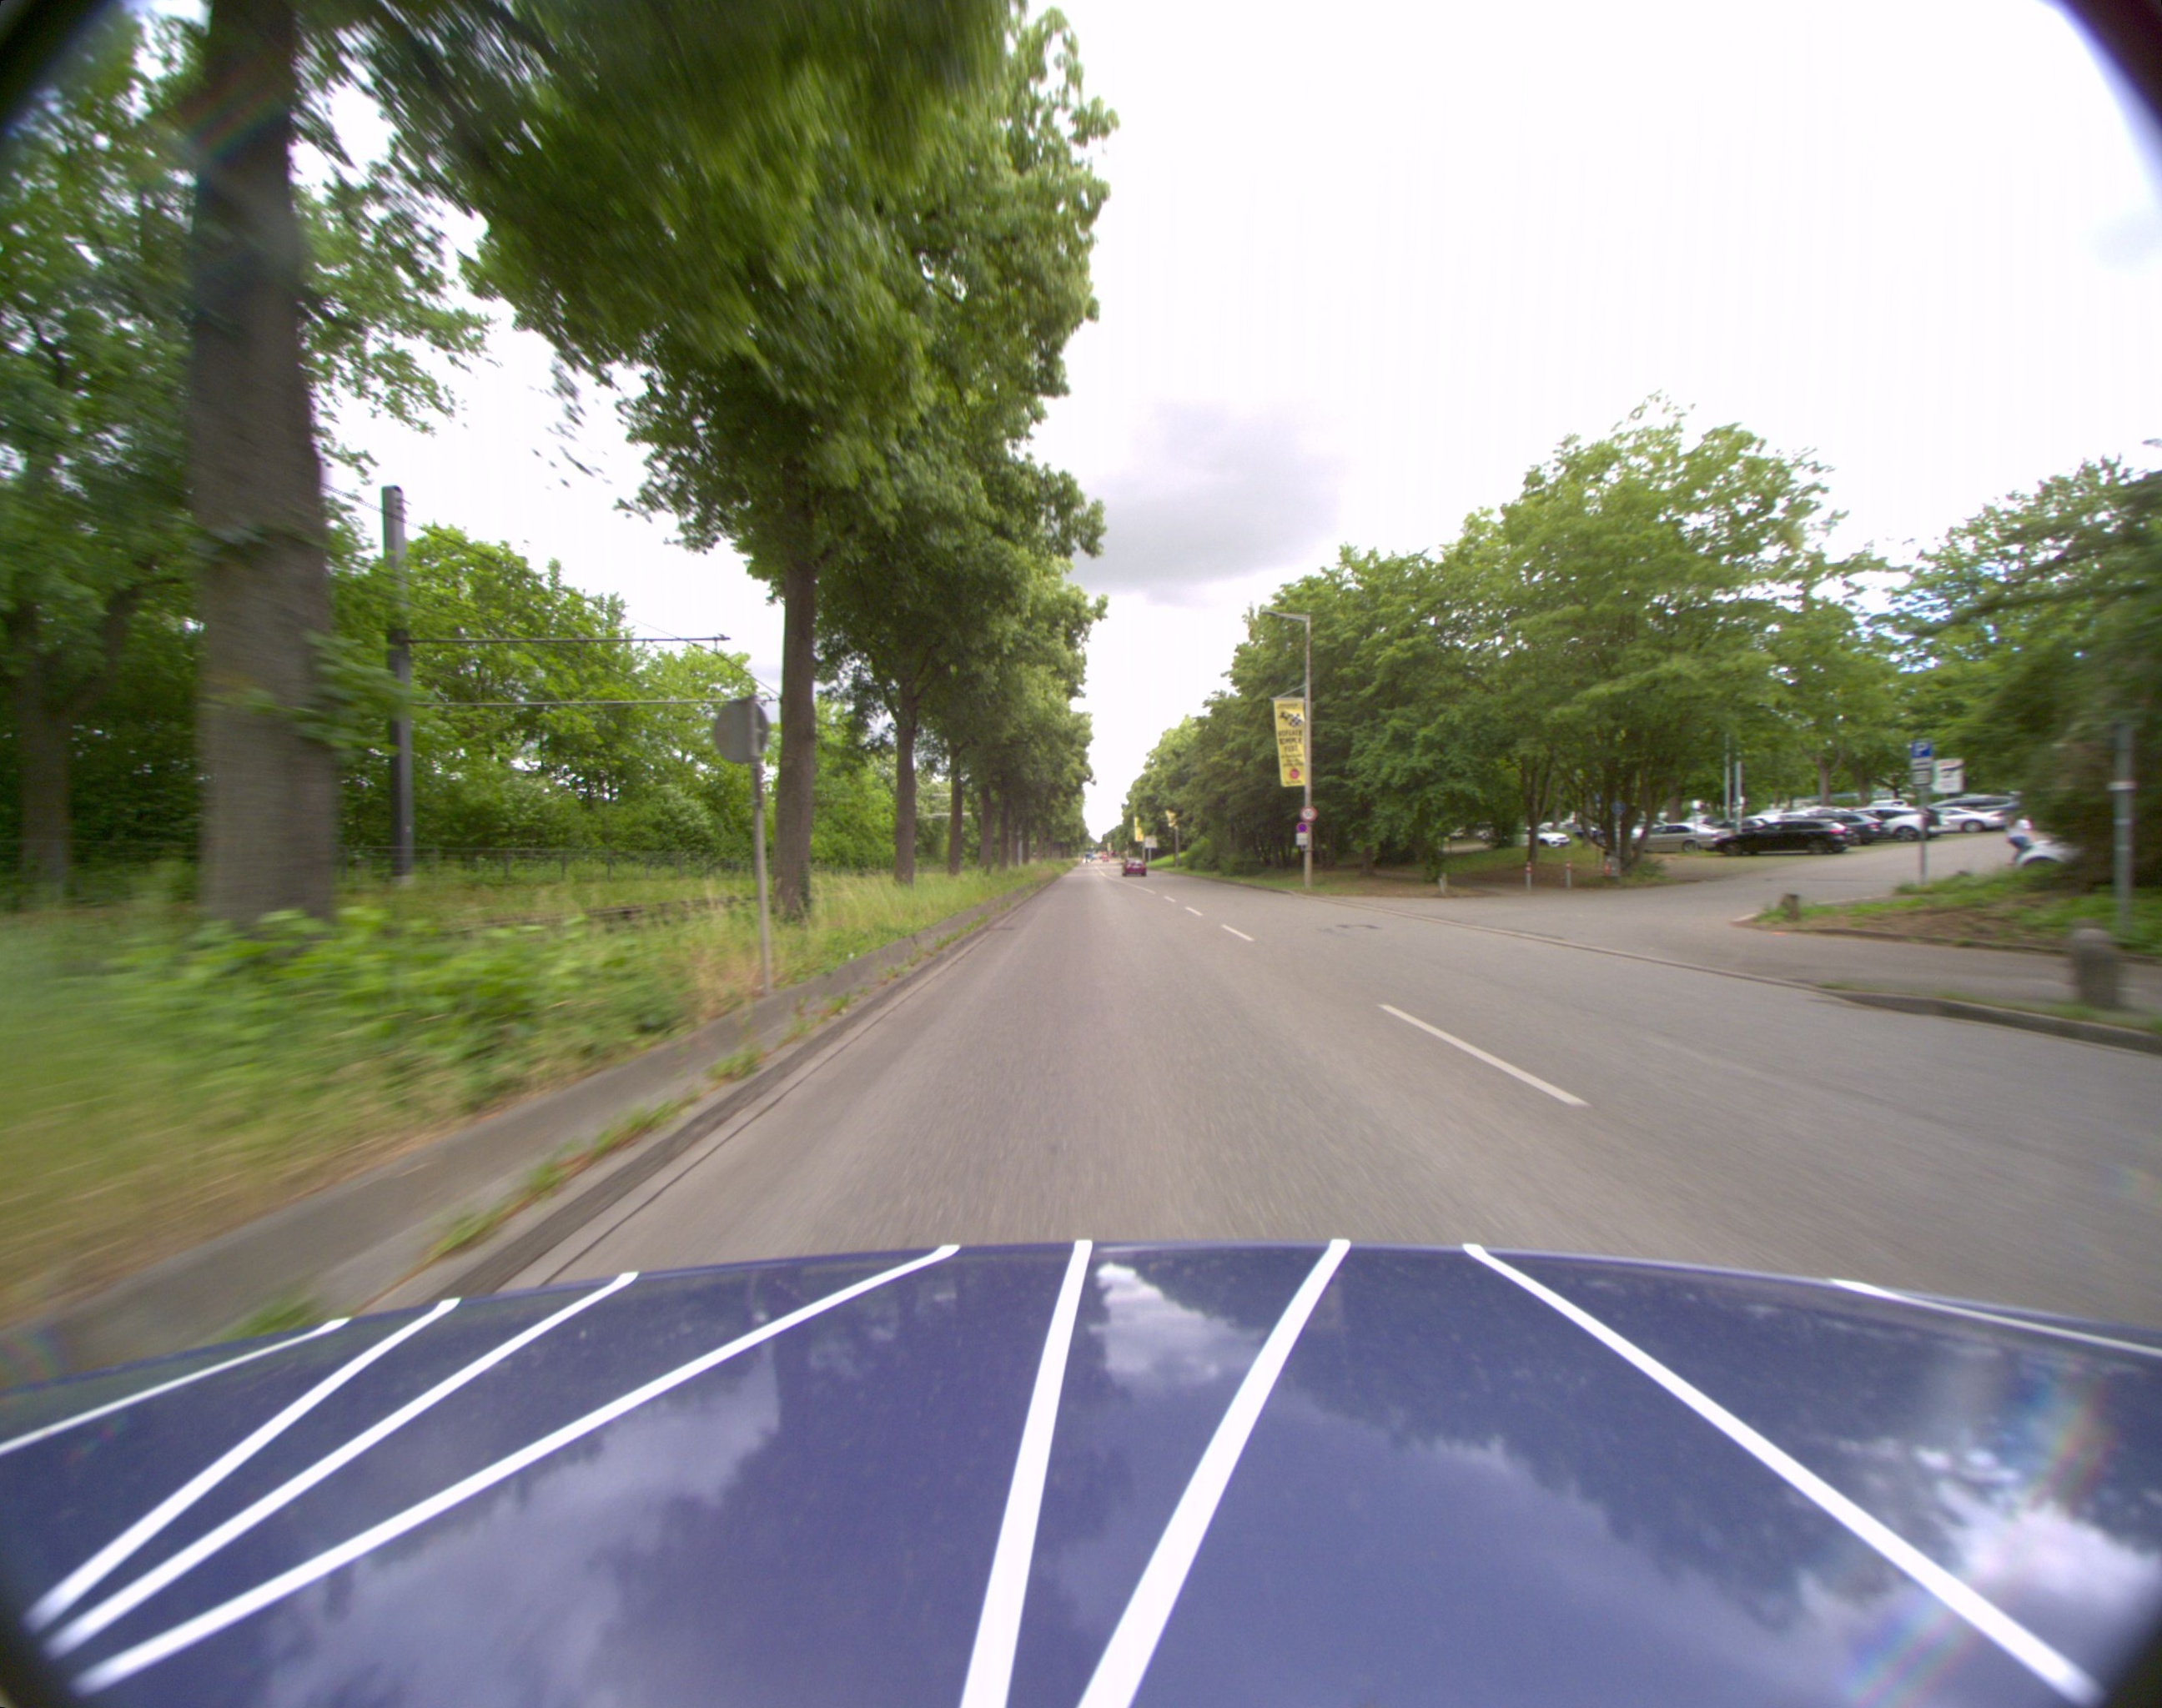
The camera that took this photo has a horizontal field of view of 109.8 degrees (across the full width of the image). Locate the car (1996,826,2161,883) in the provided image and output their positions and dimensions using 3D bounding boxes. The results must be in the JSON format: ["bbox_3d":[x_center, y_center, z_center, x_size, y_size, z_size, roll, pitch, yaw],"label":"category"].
[{"bbox_3d":[24.516,0.003,18.173,1.376,1.231,3.065,-4,1,-21],"label":"car"}]

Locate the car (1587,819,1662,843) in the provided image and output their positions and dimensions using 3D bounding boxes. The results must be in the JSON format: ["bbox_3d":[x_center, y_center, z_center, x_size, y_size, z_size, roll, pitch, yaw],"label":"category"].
[{"bbox_3d":[38.272,-1.575,53.567,1.653,1.477,3.992,-2,0,-23],"label":"car"}]

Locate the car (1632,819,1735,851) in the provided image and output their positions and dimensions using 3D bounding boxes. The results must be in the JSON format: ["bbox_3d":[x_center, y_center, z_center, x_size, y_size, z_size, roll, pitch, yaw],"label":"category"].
[{"bbox_3d":[29.446,-0.908,37.244,1.651,1.372,3.580,-4,1,-26],"label":"car"}]

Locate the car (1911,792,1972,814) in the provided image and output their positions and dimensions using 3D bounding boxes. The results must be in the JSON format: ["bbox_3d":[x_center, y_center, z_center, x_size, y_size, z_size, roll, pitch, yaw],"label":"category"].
[{"bbox_3d":[92.779,-5.462,81.995,1.905,2.047,3.978,-2,0,-24],"label":"car"}]

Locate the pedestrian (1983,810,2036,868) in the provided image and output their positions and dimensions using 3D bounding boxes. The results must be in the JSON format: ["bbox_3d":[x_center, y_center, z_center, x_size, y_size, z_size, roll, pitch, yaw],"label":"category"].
[{"bbox_3d":[26.236,-0.408,21.476,0.470,1.601,0.829,-2,1,-21],"label":"pedestrian"}]

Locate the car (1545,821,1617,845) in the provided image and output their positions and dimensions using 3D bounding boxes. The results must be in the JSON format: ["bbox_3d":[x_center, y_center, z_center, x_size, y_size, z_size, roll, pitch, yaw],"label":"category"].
[{"bbox_3d":[35.231,-1.455,53.668,1.653,1.477,3.992,-2,0,-23],"label":"car"}]

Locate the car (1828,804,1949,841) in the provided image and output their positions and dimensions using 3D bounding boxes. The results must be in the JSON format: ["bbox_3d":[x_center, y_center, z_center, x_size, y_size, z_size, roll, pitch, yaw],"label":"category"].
[{"bbox_3d":[36.209,-1.379,34.166,1.541,1.407,3.373,-4,1,-21],"label":"car"}]

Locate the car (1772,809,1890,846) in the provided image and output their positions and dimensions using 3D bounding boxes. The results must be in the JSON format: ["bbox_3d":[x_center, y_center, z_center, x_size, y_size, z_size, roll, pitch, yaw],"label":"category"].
[{"bbox_3d":[33.287,-1.143,33.811,1.541,1.407,3.373,-4,1,-21],"label":"car"}]

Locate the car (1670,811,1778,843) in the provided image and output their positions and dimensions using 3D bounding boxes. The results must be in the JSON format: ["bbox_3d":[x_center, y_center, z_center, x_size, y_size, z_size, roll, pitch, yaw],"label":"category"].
[{"bbox_3d":[33.834,-1.394,40.088,1.653,1.477,3.992,-2,0,-23],"label":"car"}]

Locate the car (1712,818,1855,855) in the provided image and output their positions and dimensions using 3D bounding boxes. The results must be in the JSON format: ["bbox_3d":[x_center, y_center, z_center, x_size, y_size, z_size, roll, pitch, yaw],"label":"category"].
[{"bbox_3d":[29.069,-0.680,31.592,1.443,1.332,4.117,-4,1,-21],"label":"car"}]

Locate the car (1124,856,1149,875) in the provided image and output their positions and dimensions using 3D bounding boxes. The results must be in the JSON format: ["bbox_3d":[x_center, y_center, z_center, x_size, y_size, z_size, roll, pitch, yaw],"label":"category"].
[{"bbox_3d":[4.365,0.864,60.115,1.720,1.420,4.197,0,0,0],"label":"car"}]

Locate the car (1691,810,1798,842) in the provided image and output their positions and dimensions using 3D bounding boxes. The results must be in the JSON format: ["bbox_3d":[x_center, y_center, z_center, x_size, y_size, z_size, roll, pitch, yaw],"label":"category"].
[{"bbox_3d":[35.766,-1.469,41.076,1.653,1.477,3.992,-2,0,-23],"label":"car"}]

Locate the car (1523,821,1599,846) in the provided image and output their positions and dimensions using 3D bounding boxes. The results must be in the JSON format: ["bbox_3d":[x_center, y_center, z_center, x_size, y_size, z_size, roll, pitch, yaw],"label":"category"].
[{"bbox_3d":[31.843,-1.321,50.528,1.653,1.477,3.992,-2,0,-23],"label":"car"}]

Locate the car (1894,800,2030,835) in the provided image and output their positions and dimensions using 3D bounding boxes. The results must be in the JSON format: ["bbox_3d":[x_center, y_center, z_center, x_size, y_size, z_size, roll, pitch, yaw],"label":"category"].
[{"bbox_3d":[42.632,-1.737,36.874,1.653,1.477,3.992,-2,0,-23],"label":"car"}]

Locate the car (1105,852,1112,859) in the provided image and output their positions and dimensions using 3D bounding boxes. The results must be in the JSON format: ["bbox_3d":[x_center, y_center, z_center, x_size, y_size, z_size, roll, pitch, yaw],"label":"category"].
[{"bbox_3d":[8.588,0.478,238.170,1.998,1.944,5.183,-1,0,1],"label":"car"}]

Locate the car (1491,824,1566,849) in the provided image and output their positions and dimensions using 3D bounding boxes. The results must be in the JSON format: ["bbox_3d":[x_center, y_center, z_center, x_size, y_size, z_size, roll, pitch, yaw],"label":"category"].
[{"bbox_3d":[29.072,-1.122,49.461,1.653,1.477,3.992,-2,0,-23],"label":"car"}]
